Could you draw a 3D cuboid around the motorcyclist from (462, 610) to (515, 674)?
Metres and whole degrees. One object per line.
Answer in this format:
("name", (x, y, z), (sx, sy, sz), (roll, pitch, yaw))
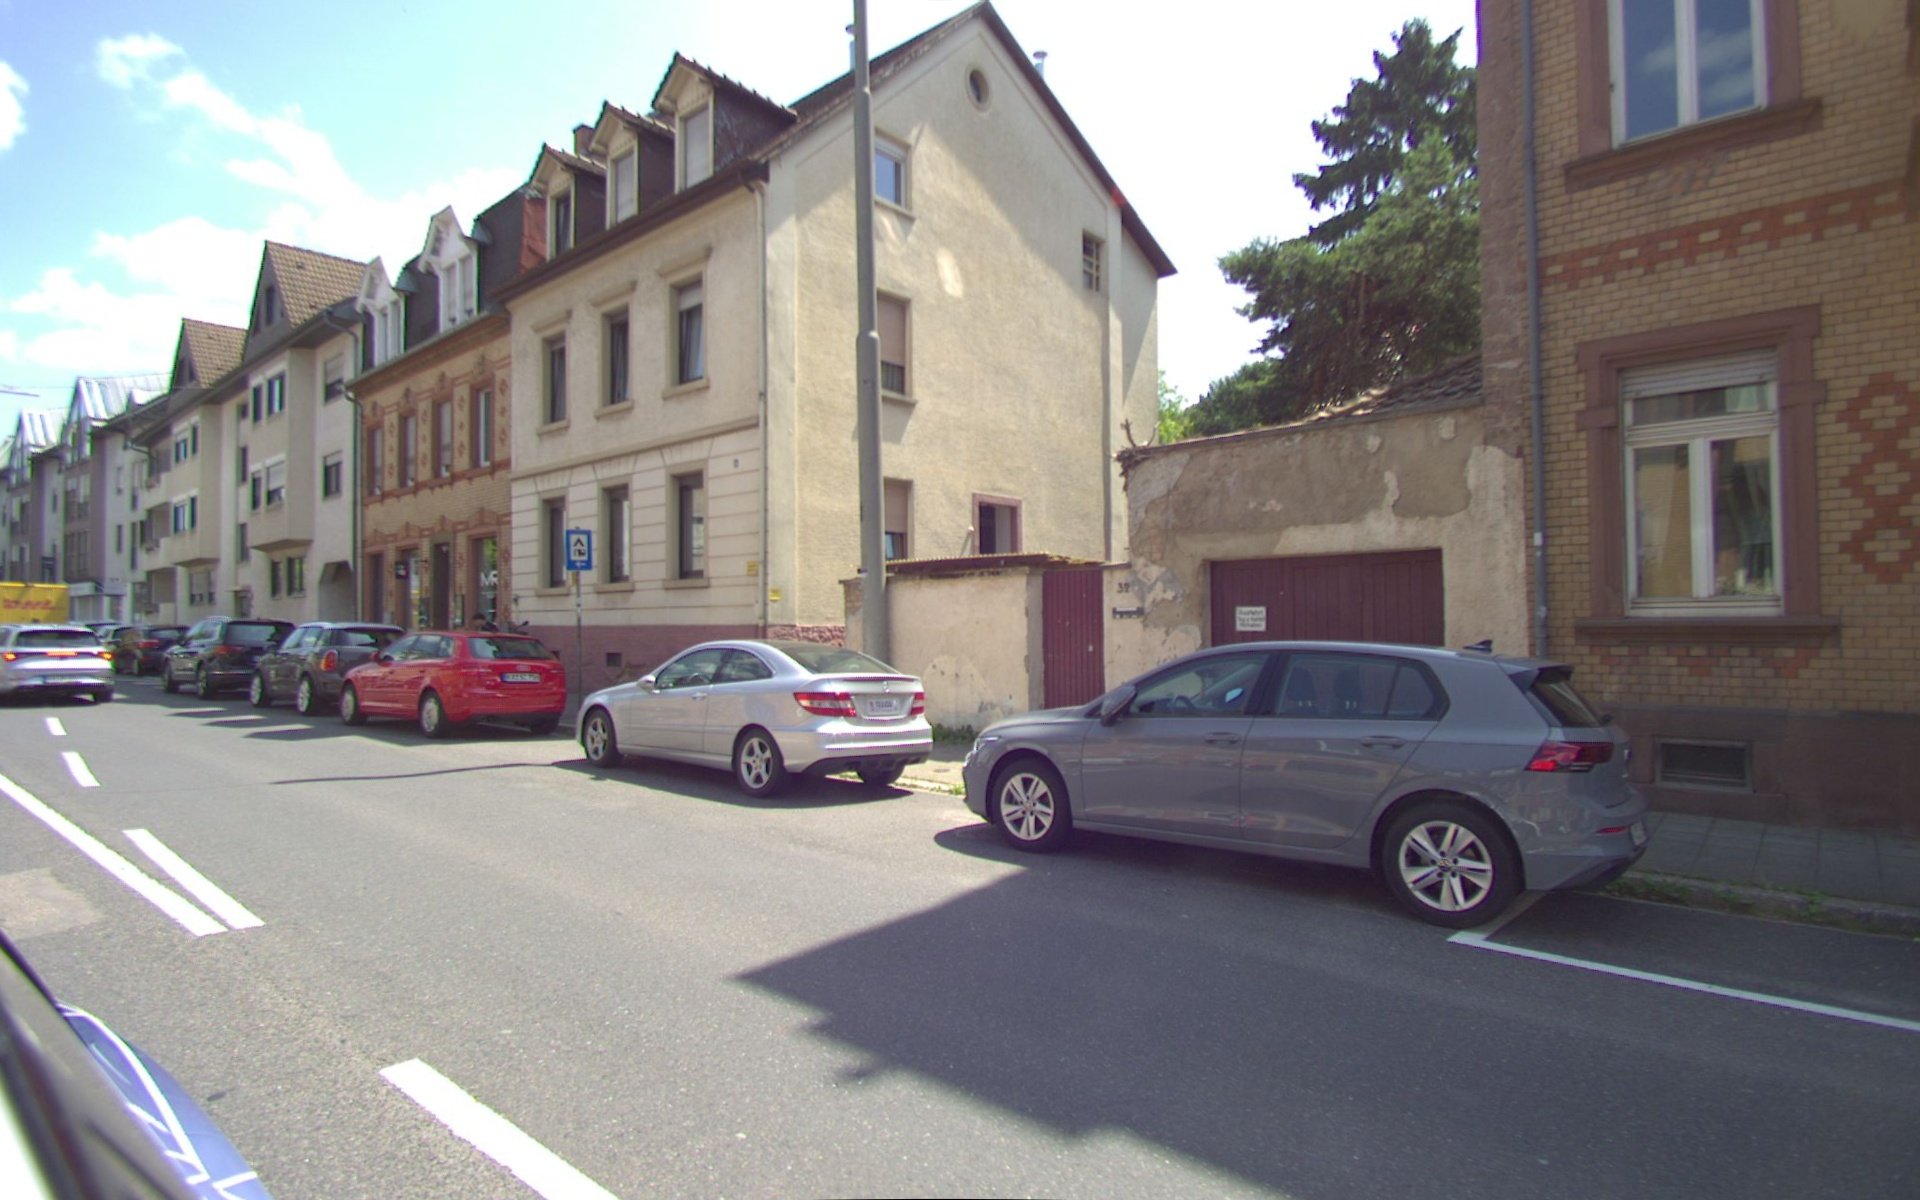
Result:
("motorcyclist", (-9.567, 0.851, 20.541), (0.711, 1.257, 0.711), (-2, -3, 40))

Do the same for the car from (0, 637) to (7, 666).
("car", (-51.512, 2.688, 52.919), (4.964, 1.458, 1.821), (-1, 0, 40))

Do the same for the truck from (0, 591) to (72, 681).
("truck", (-32.403, 1.230, 34.310), (7.557, 2.792, 2.203), (-2, -4, 40))

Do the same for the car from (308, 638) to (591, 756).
("car", (-7.465, 1.323, 14.632), (4.495, 1.433, 1.822), (-1, -5, 38))

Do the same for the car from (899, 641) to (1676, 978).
("car", (1.893, 1.081, 6.662), (4.498, 1.433, 1.821), (-1, -7, 39))

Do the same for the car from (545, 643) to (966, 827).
("car", (-2.251, 1.215, 10.390), (4.499, 1.433, 1.821), (-1, -5, 40))

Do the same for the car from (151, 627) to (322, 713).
("car", (-15.282, 1.426, 21.288), (4.499, 1.609, 1.821), (-1, -5, 40))

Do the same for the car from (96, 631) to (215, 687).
("car", (-24.223, 1.716, 30.418), (4.496, 1.499, 1.822), (-1, 0, 38))

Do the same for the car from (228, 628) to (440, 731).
("car", (-11.213, 1.365, 18.018), (4.499, 1.609, 1.821), (-1, -6, 40))

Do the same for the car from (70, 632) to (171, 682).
("car", (-28.114, 1.862, 33.851), (4.382, 1.499, 1.821), (-1, 0, 39))

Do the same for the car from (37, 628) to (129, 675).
("car", (-32.943, 1.876, 37.998), (4.380, 1.608, 1.822), (-1, 0, 38))

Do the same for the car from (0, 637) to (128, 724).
("car", (-17.084, 1.401, 18.666), (4.309, 1.431, 1.773), (-1, -3, 38))
